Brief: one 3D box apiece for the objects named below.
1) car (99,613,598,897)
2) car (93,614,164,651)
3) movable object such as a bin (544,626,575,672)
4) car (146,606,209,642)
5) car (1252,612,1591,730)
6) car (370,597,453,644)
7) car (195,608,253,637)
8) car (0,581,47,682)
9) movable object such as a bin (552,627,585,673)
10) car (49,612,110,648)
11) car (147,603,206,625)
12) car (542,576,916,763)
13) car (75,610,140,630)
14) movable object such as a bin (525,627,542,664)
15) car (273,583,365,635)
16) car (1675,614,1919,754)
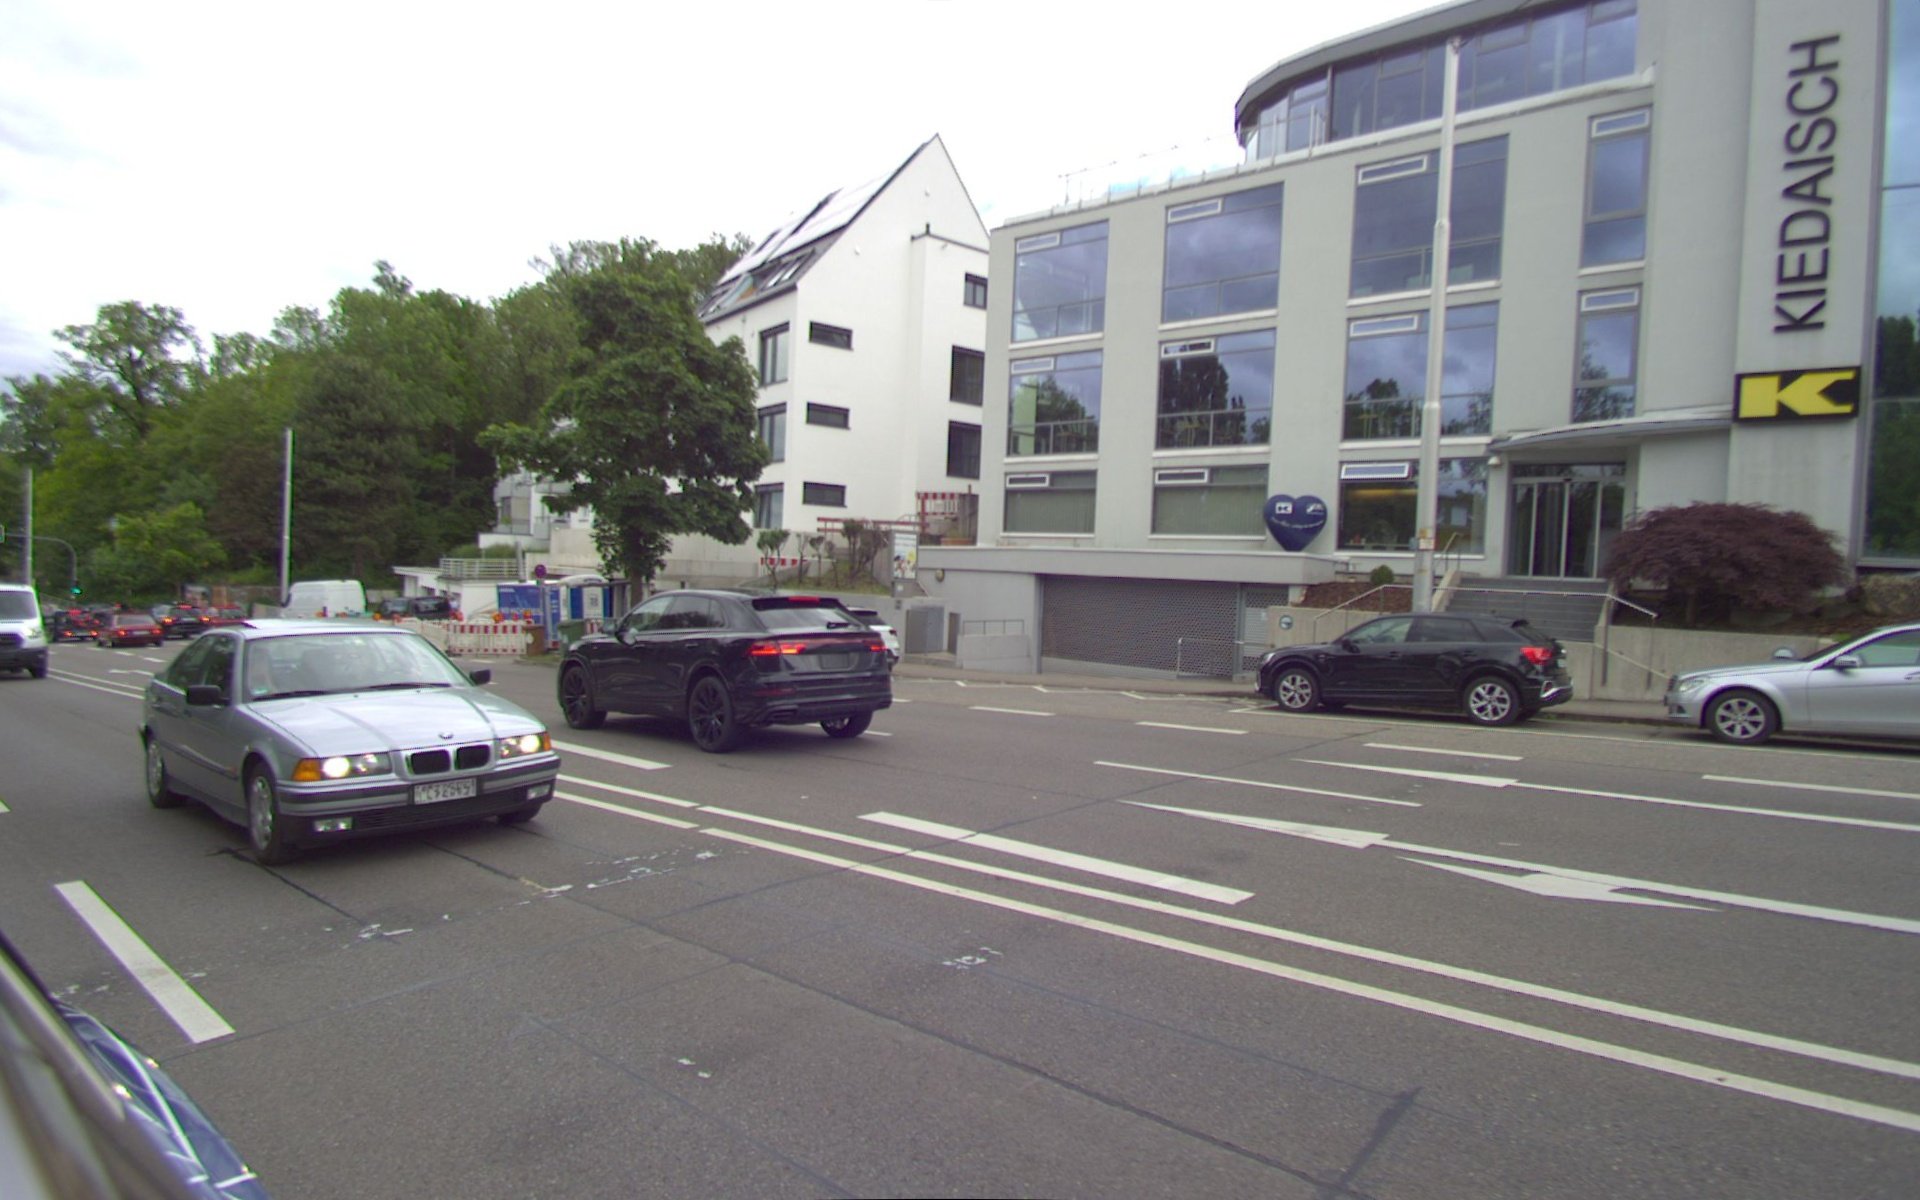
[{"bbox_3d":[-4.527,0.801,7.141,4.616,1.393,1.618,-1,-1,40],"label":"car"},{"bbox_3d":[-33.799,1.279,41.089,4.323,1.392,1.728,-1,-1,44],"label":"car"},{"bbox_3d":[-10.314,1.244,26.061,0.577,1.146,0.586,0,-1,-42],"label":"movable object such as a bin"},{"bbox_3d":[-36.921,1.128,47.732,4.226,1.609,1.755,-1,-1,44],"label":"car"},{"bbox_3d":[6.431,0.902,14.373,4.088,1.439,1.655,-1,-2,41],"label":"car"},{"bbox_3d":[-22.122,0.796,40.760,1.785,1.764,4.253,-1,0,-45],"label":"car"},{"bbox_3d":[-39.067,1.188,53.701,3.289,1.454,1.564,-1,-1,36],"label":"car"},{"bbox_3d":[-23.326,0.732,23.665,6.261,2.190,1.974,-1,-2,39],"label":"car"},{"bbox_3d":[-9.901,1.254,25.599,0.581,1.146,0.646,0,-1,-42],"label":"movable object such as a bin"},{"bbox_3d":[-41.218,1.365,47.341,4.665,1.609,1.755,-1,-1,44],"label":"car"},{"bbox_3d":[-54.018,0.973,69.868,1.561,1.454,3.295,0,0,0],"label":"car"},{"bbox_3d":[-2.817,0.676,11.608,4.763,1.716,1.827,-1,-2,43],"label":"car"},{"bbox_3d":[-55.825,1.307,66.274,3.260,1.294,1.561,-1,0,11],"label":"car"},{"bbox_3d":[-11.738,1.253,27.846,0.322,0.982,0.426,0,-1,-42],"label":"movable object such as a bin"},{"bbox_3d":[-32.842,0.447,51.732,6.526,2.545,1.974,-1,0,39],"label":"car"},{"bbox_3d":[10.486,0.880,10.983,4.411,1.439,1.657,-1,-2,37],"label":"car"}]
